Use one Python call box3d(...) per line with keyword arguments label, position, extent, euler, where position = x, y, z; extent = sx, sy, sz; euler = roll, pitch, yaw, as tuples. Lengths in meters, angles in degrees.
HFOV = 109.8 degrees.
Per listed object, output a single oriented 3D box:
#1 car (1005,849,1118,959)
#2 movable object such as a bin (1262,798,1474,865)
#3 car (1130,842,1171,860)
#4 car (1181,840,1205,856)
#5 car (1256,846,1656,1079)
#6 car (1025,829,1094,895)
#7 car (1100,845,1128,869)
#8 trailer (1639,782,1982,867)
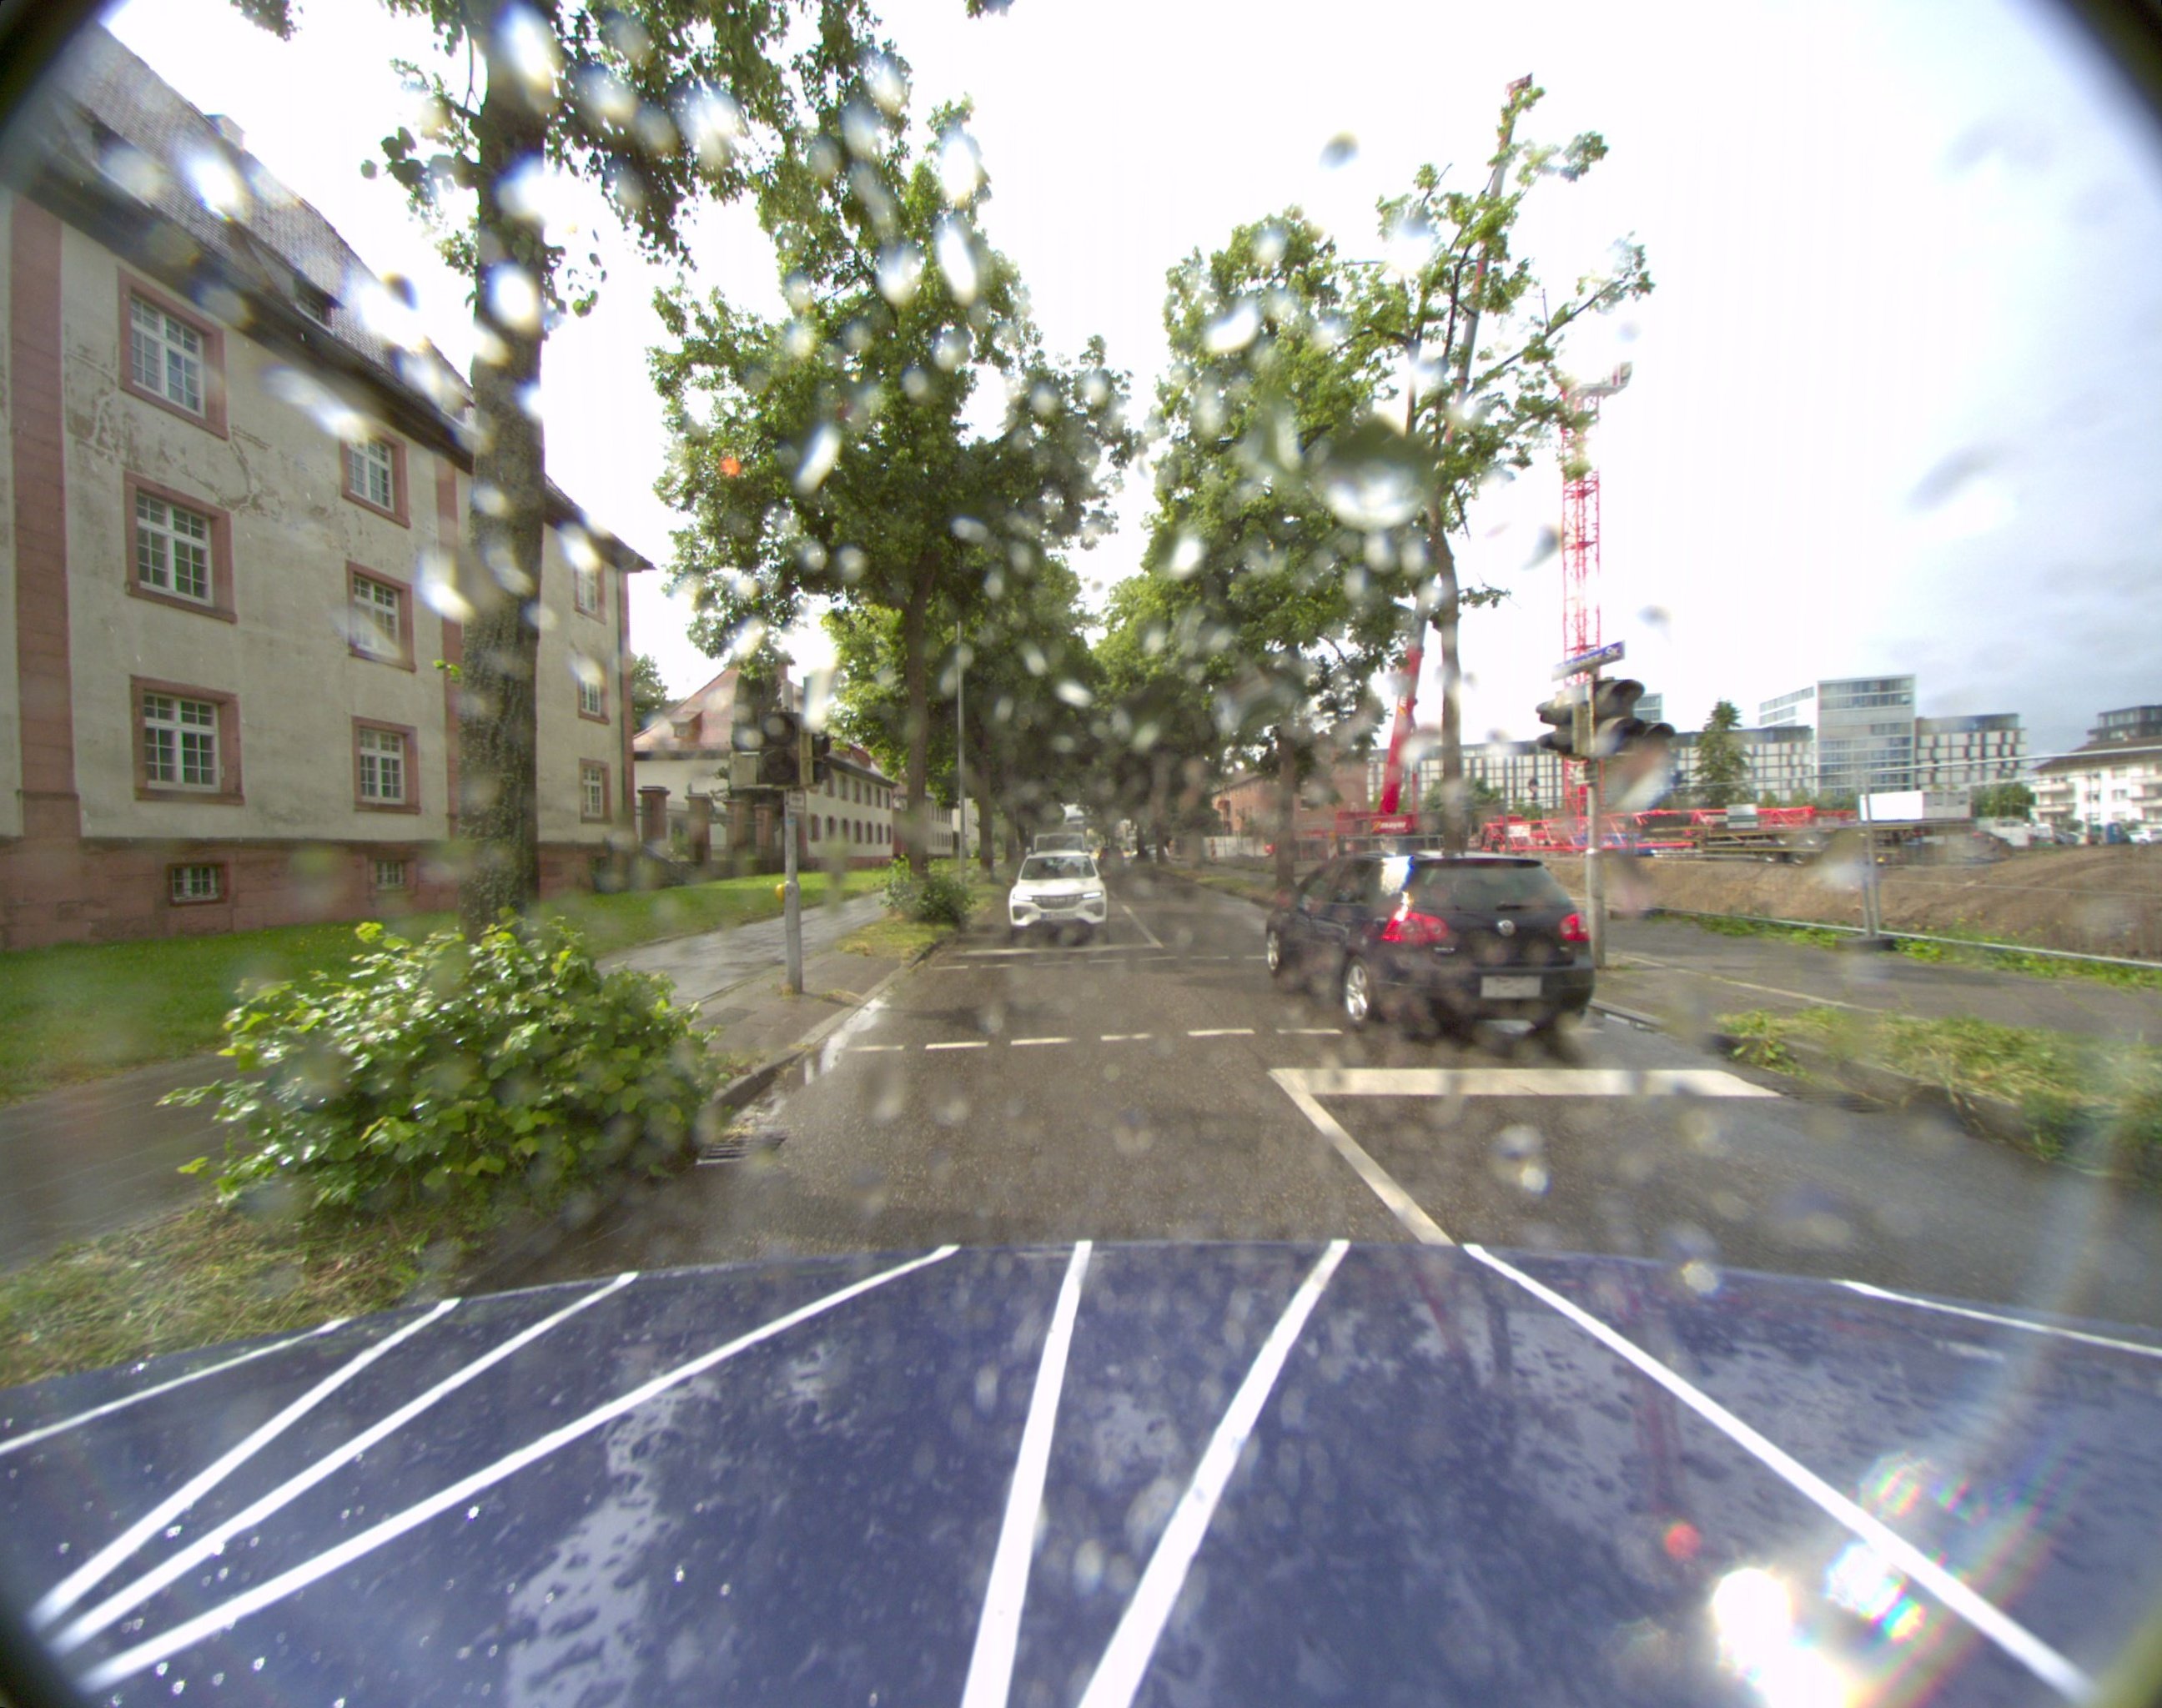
box3d(label="car", position=(-0.314, 0.729, 13.198), extent=(1.608, 1.499, 3.999), euler=(-3, 1, -1))
box3d(label="movable object such as a bin", position=(23.234, -1.804, 62.124), extent=(15.943, 4.533, 3.101), euler=(-3, 2, 2))
box3d(label="car", position=(6.969, -0.294, 76.102), extent=(3.867, 1.543, 1.698), euler=(-3, 2, 8))
box3d(label="car", position=(11.870, -0.628, 80.927), extent=(1.693, 1.521, 3.998), euler=(-3, 2, -3))
box3d(label="car", position=(3.058, 0.732, 7.272), extent=(1.845, 1.598, 3.999), euler=(1, 1, 0))
box3d(label="car", position=(-0.832, 0.185, 26.880), extent=(2.108, 1.990, 5.431), euler=(-3, 2, -3))
box3d(label="car", position=(2.252, 0.183, 52.576), extent=(1.818, 1.531, 3.981), euler=(-1, 0, 0))
box3d(label="trailer", position=(34.877, -1.370, 37.973), extent=(2.968, 3.215, 14.304), euler=(-5, 2, -1))
